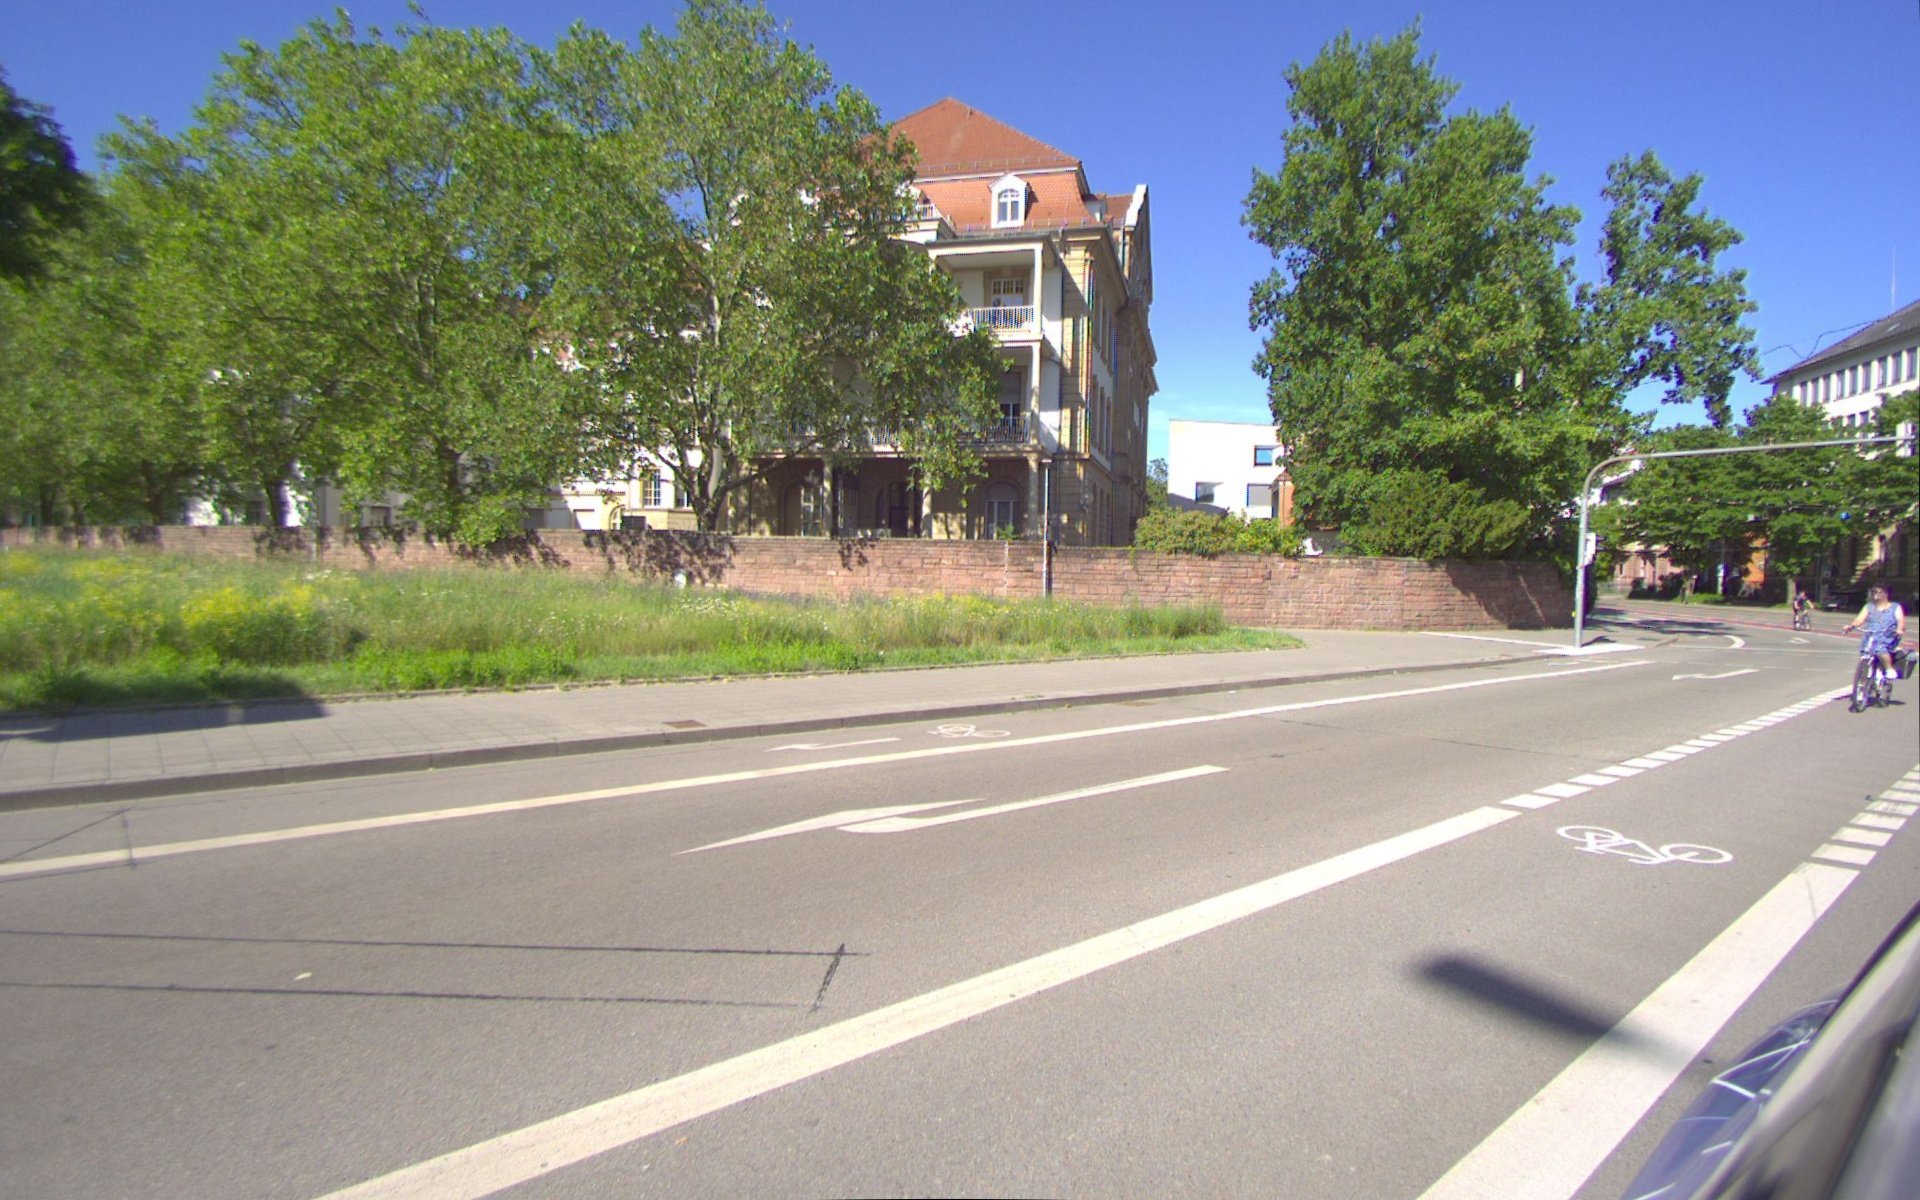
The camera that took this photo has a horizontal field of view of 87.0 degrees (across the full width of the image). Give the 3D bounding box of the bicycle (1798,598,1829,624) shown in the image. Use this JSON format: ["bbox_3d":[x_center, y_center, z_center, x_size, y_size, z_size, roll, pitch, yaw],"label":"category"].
[{"bbox_3d":[35.877,0.448,42.547,1.723,1.018,0.711,0,1,-41],"label":"bicycle"}]

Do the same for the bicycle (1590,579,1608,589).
[{"bbox_3d":[63.947,-1.595,101.304,0.720,1.003,1.834,1,2,3],"label":"bicycle"}]

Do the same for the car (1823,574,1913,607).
[{"bbox_3d":[61.205,-0.652,68.252,4.615,2.038,2.004,1,2,-9],"label":"car"}]

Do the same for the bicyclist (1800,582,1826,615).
[{"bbox_3d":[35.770,-0.069,42.440,0.764,1.333,0.711,0,1,-42],"label":"bicyclist"}]

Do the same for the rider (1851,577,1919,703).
[{"bbox_3d":[12.729,0.515,13.846,0.971,1.640,0.658,0,1,-41],"label":"rider"}]
